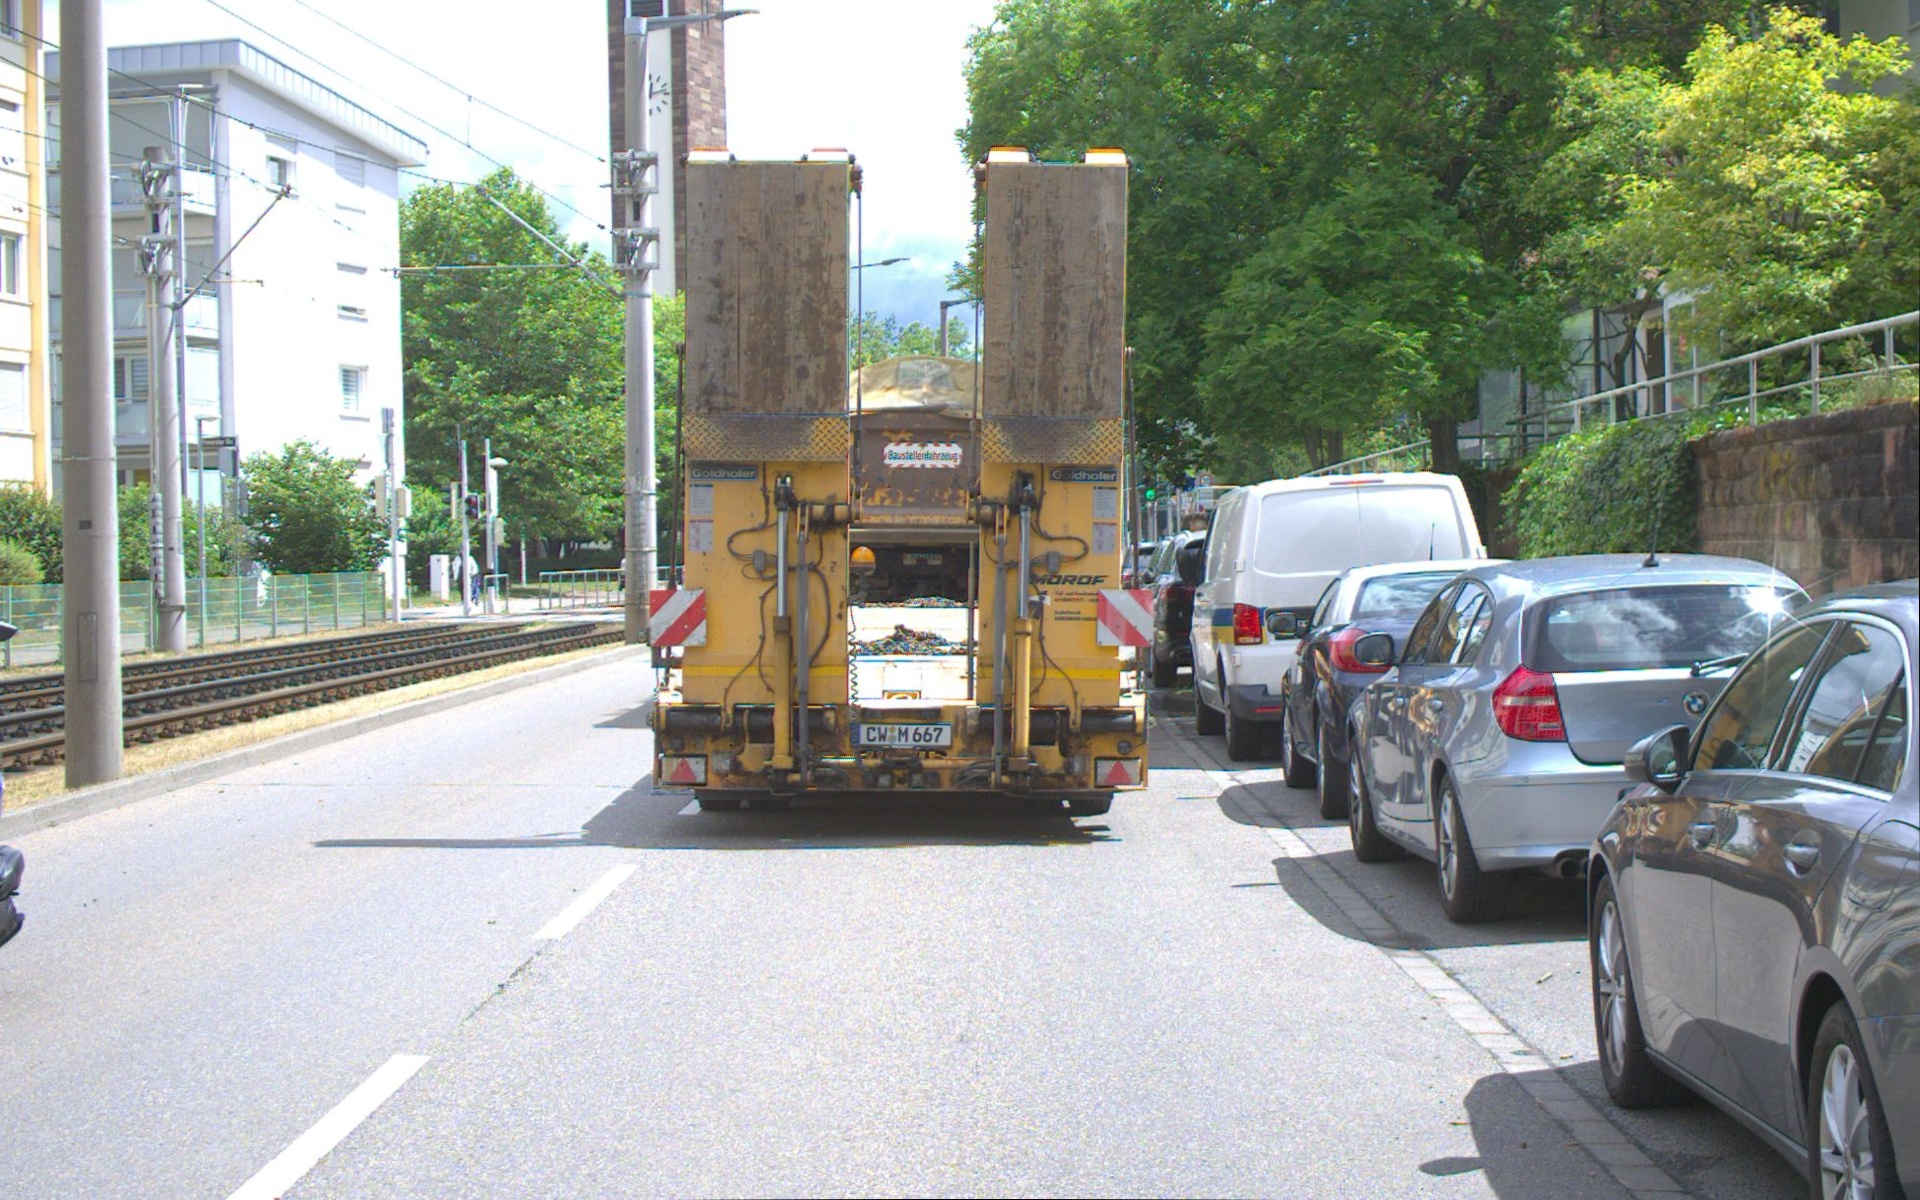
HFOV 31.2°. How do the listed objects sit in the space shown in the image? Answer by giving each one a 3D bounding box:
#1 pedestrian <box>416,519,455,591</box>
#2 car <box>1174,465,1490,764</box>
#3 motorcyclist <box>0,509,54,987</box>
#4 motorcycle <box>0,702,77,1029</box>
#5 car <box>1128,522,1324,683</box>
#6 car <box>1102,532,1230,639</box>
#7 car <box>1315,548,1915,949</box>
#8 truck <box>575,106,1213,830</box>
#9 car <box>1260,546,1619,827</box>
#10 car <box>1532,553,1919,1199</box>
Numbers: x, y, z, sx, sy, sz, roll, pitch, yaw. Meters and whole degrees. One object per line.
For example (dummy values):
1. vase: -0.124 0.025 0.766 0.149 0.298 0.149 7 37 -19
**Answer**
1. pedestrian: -14.761 -1.263 96.753 0.951 2.007 1.179 -1 1 -14
2. car: 2.646 0.040 25.420 1.799 1.961 4.590 -2 1 0
3. motorcyclist: -3.322 0.452 10.711 0.747 1.462 0.887 -1 1 0
4. motorcycle: -3.324 0.841 10.599 0.747 0.951 1.832 1 1 -1
5. car: 2.829 -0.025 37.334 1.799 1.617 4.292 -1 1 0
6. car: 3.293 -0.266 55.623 1.799 1.617 4.292 -1 1 0
7. car: 2.650 0.523 14.825 1.690 1.400 4.069 -2 1 -1
8. truck: -0.443 -0.815 23.252 3.124 3.552 12.461 -1 1 -1
9. car: 2.695 0.432 20.009 1.621 1.400 3.650 -2 1 1
10. car: 2.536 0.628 7.693 1.836 1.400 4.414 -2 1 1
